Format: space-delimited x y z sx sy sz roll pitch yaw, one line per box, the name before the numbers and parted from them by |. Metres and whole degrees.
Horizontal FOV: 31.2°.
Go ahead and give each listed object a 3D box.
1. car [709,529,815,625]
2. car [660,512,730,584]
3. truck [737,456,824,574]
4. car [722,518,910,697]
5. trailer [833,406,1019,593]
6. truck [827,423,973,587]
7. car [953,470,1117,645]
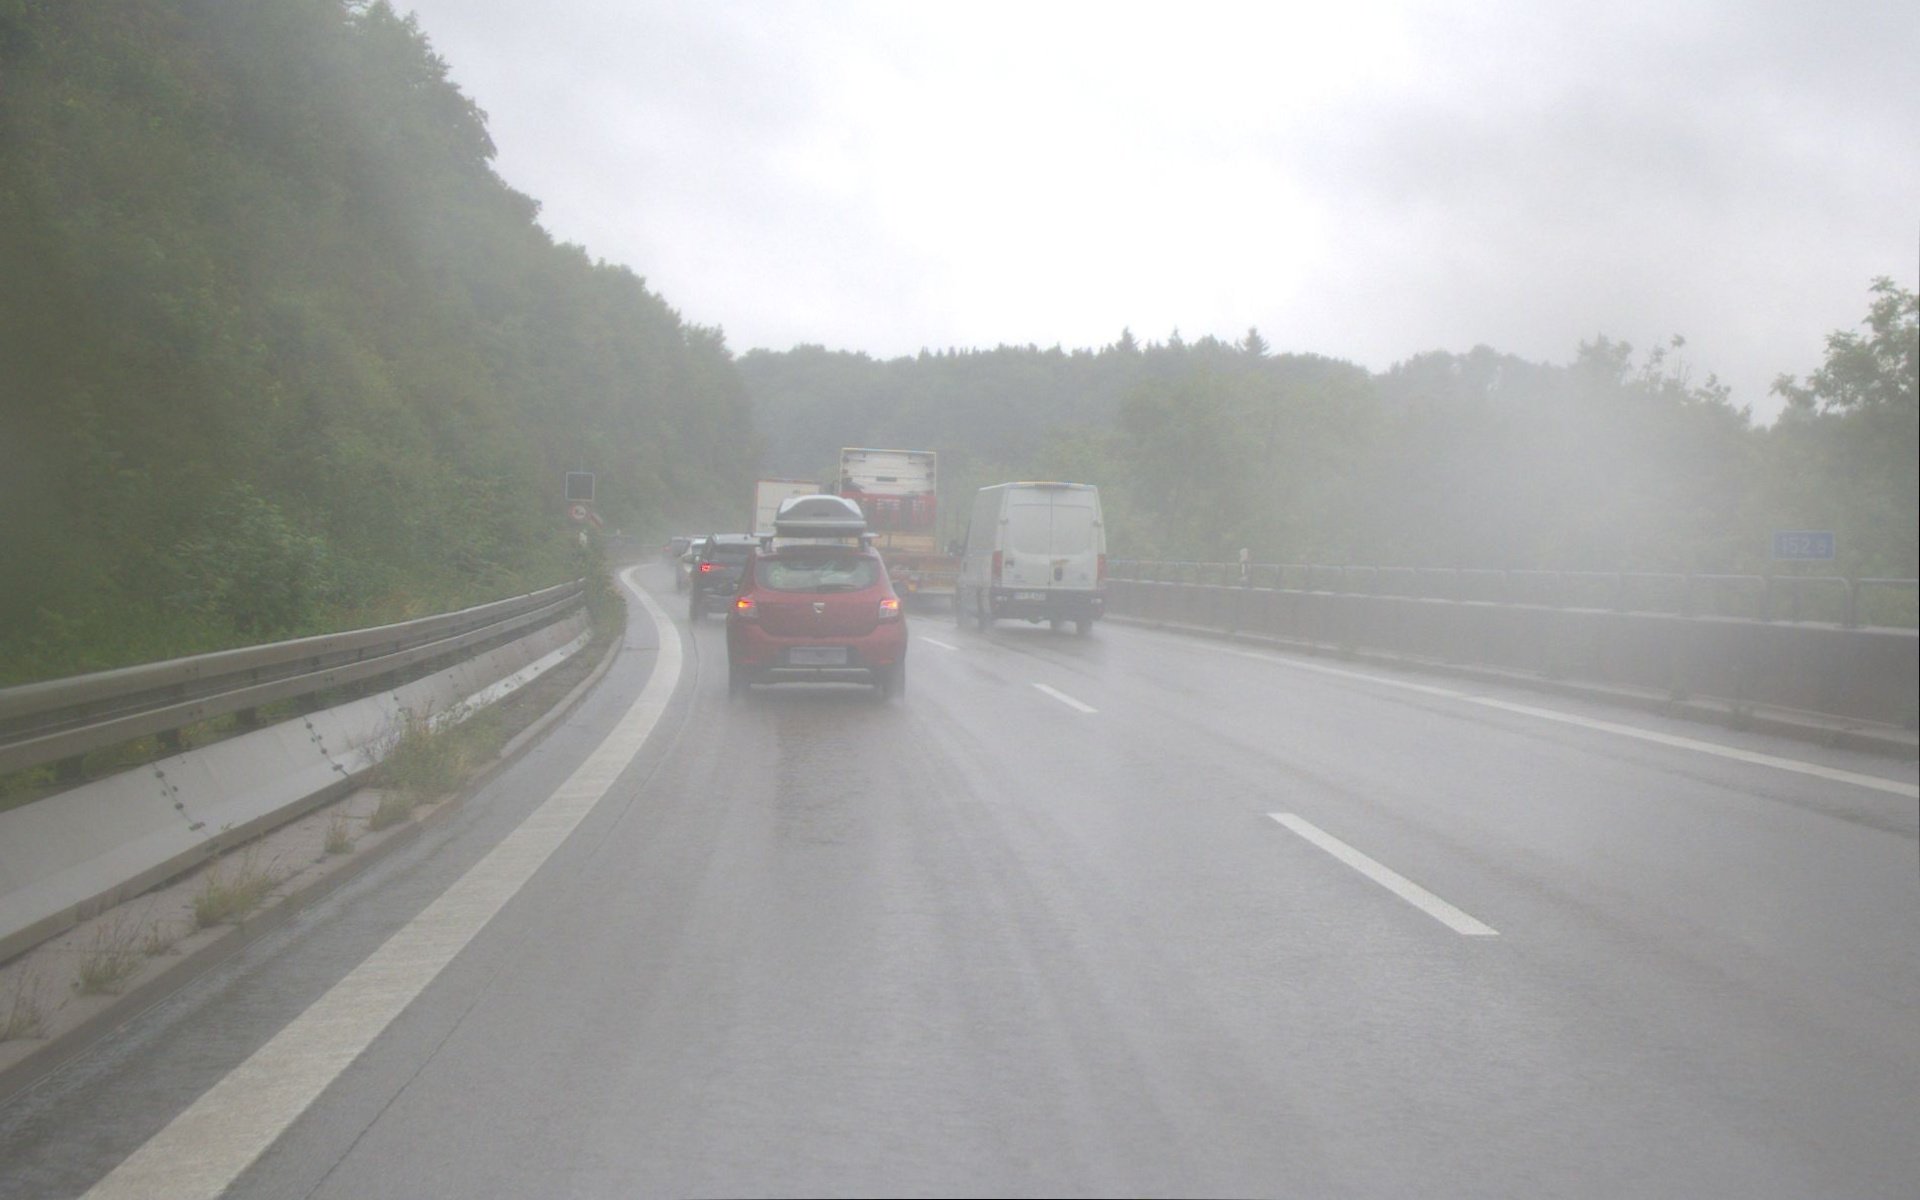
car | -3.634 -0.423 62.548 1.822 1.690 4.001 0 1 -5
car | -6.863 -1.338 88.786 1.715 1.811 3.893 0 1 -6
truck | -7.348 -3.411 140.047 3.222 4.666 8.301 0 1 -5
car | -1.472 0.050 34.268 1.758 1.679 4.001 0 1 -4
trailer | -0.991 -2.316 82.241 3.218 3.985 13.526 2 1 -5
truck | -1.609 -2.429 89.095 3.219 3.964 5.440 2 1 -6
car | 1.242 -0.767 61.020 2.206 2.784 7.383 4 1 -3
